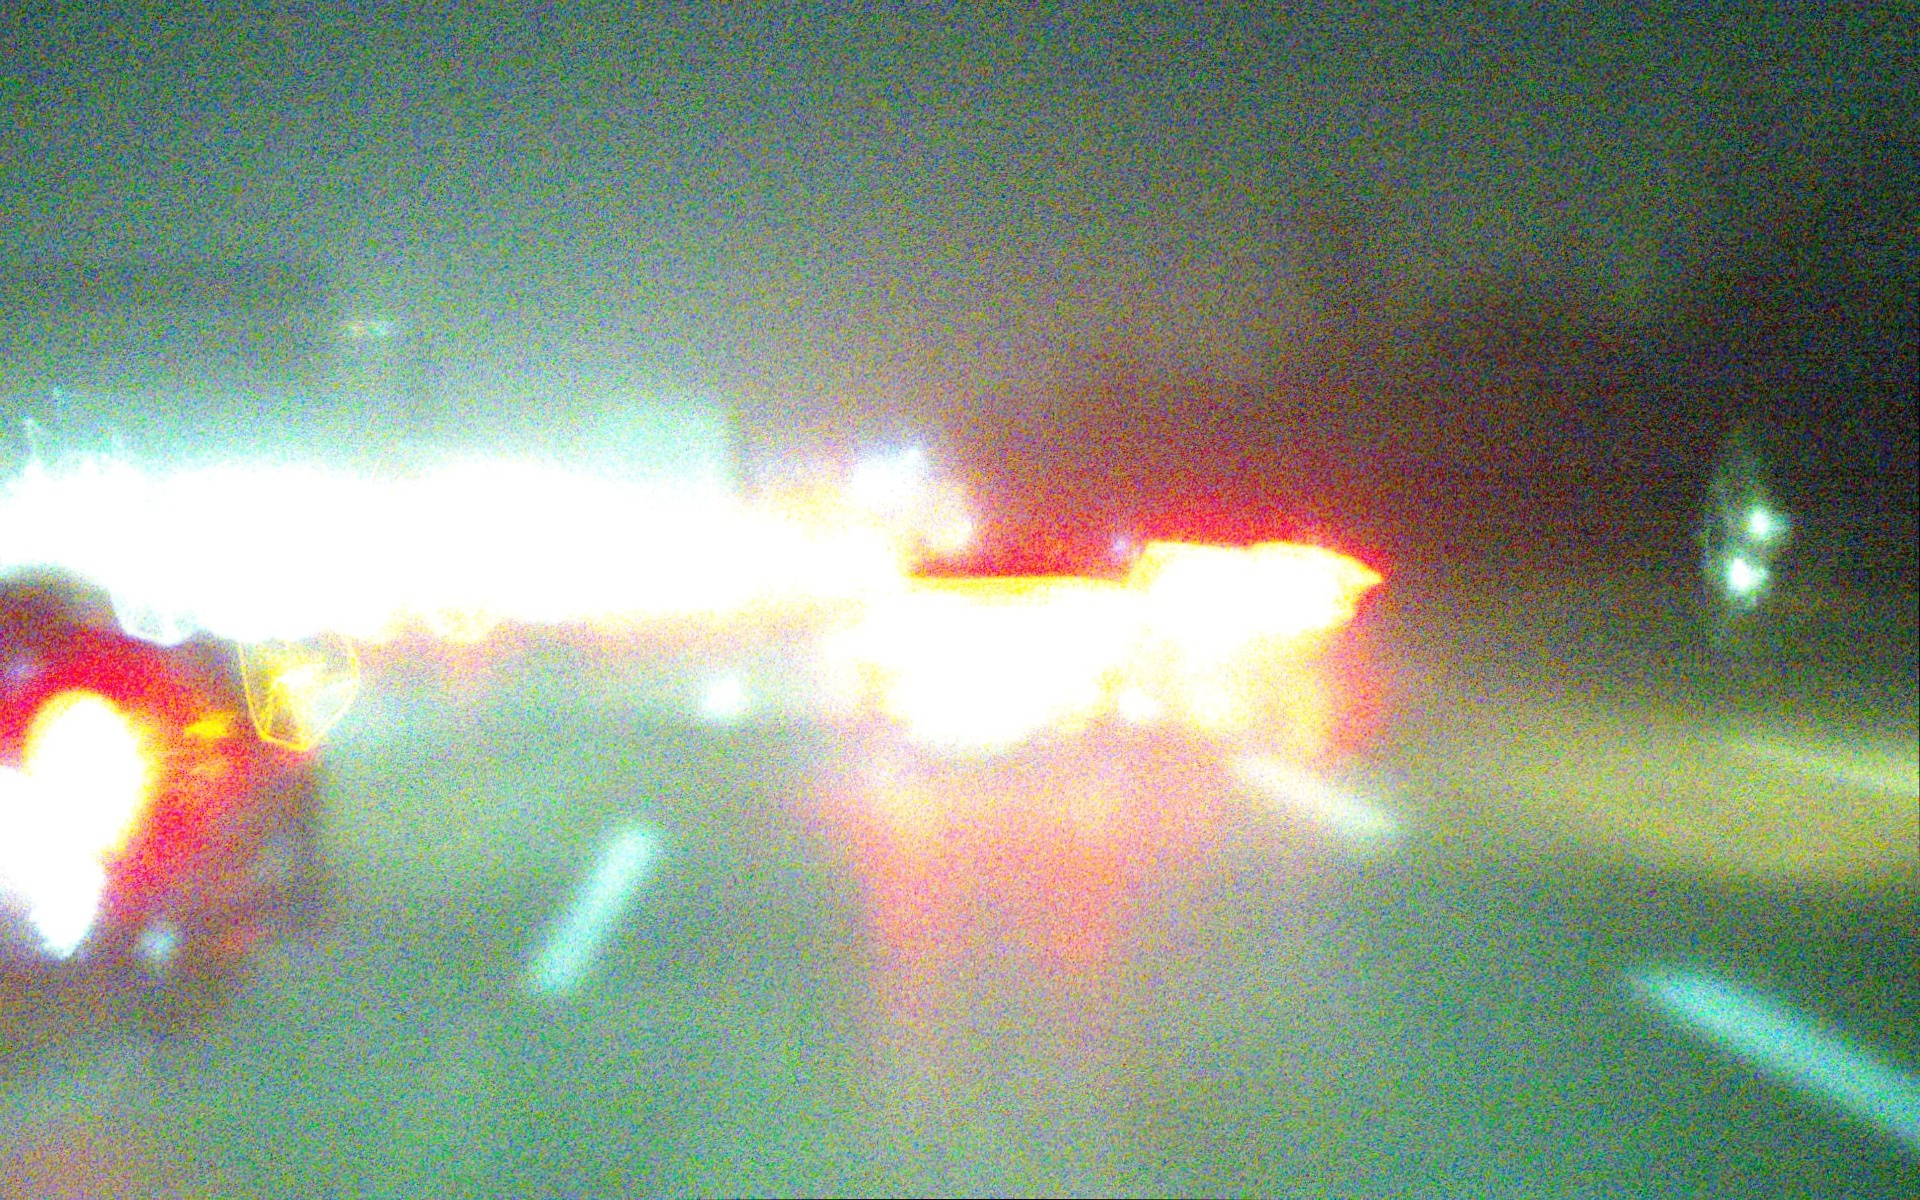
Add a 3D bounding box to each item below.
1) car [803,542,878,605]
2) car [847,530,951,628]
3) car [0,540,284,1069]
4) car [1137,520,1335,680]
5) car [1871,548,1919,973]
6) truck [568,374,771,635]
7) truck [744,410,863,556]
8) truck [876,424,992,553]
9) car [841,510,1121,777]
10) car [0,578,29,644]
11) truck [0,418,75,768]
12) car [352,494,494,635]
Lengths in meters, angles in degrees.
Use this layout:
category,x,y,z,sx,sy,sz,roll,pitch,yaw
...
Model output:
category,x,y,z,sx,sy,sz,roll,pitch,yaw
car,-3.297,-0.727,94.886,1.993,1.698,4.459,1,0,-2
car,-1.166,-0.391,64.048,1.765,1.756,4.000,1,0,-3
car,-3.246,0.523,11.445,1.656,1.426,4.247,0,1,-7
car,3.172,-0.014,40.238,1.878,1.756,4.000,1,0,-1
car,4.233,0.577,10.233,1.769,1.452,4.196,0,1,-2
truck,-5.849,-1.776,67.898,3.655,4.721,9.854,1,0,-6
truck,-6.148,-4.544,136.773,4.254,5.425,10.884,1,0,0
truck,-1.175,-4.656,146.634,4.161,5.197,9.955,1,0,-5
car,0.087,0.234,23.750,1.765,1.683,4.000,0,1,-1
car,-23.033,0.248,80.181,1.656,1.508,4.000,1,0,-2
truck,-7.408,-0.053,21.083,2.856,2.193,5.859,1,0,-5
car,-9.119,-0.596,58.577,2.263,2.265,5.387,1,0,-8
